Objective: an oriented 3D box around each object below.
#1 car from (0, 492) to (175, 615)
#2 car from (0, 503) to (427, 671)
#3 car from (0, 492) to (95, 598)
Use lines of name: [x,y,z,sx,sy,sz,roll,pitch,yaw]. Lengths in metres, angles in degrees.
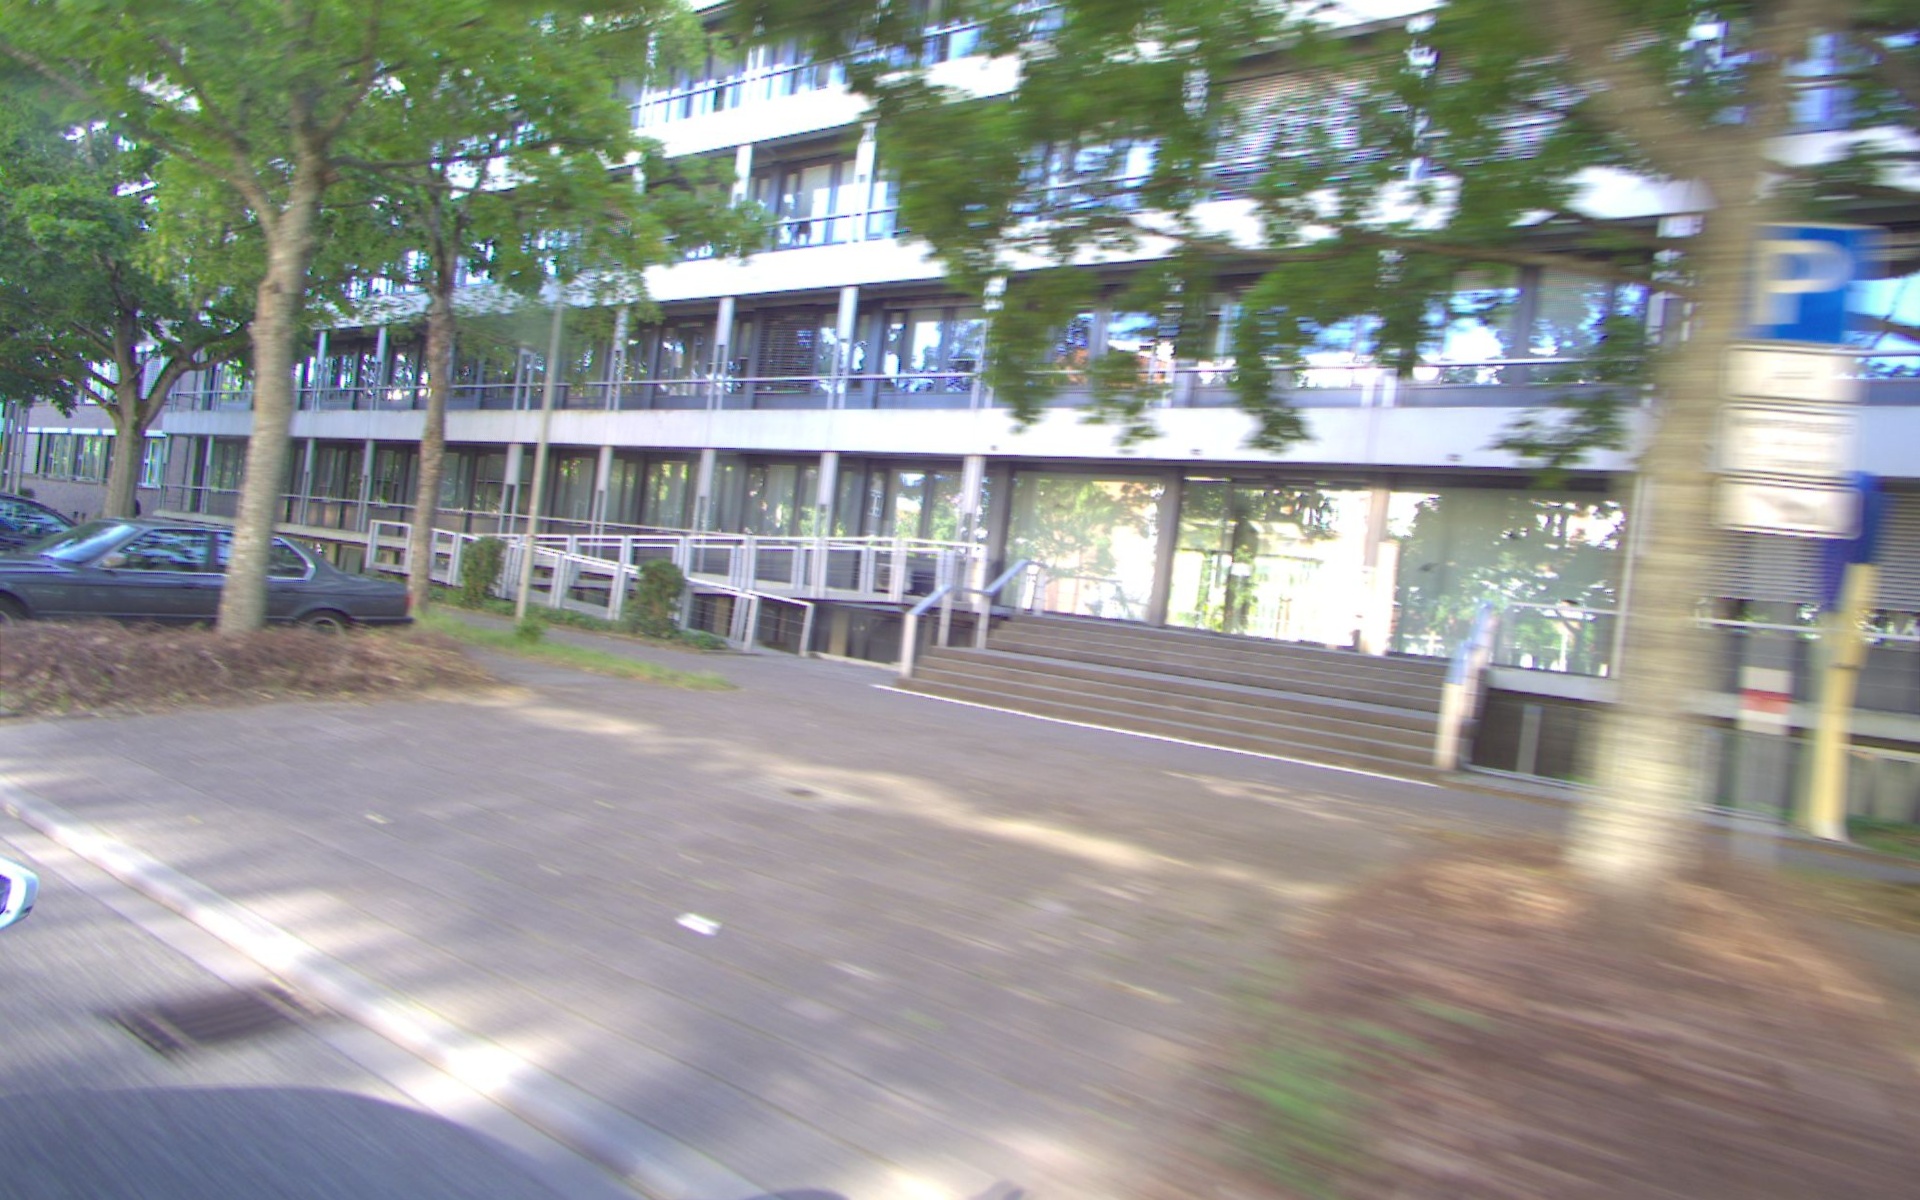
car: [-13.208,-0.711,13.616,1.783,1.534,3.643,6,1,32]
car: [-8.454,-0.136,10.388,1.997,1.438,4.829,6,1,30]
car: [-15.488,-0.961,14.692,1.783,1.534,3.950,6,1,33]
